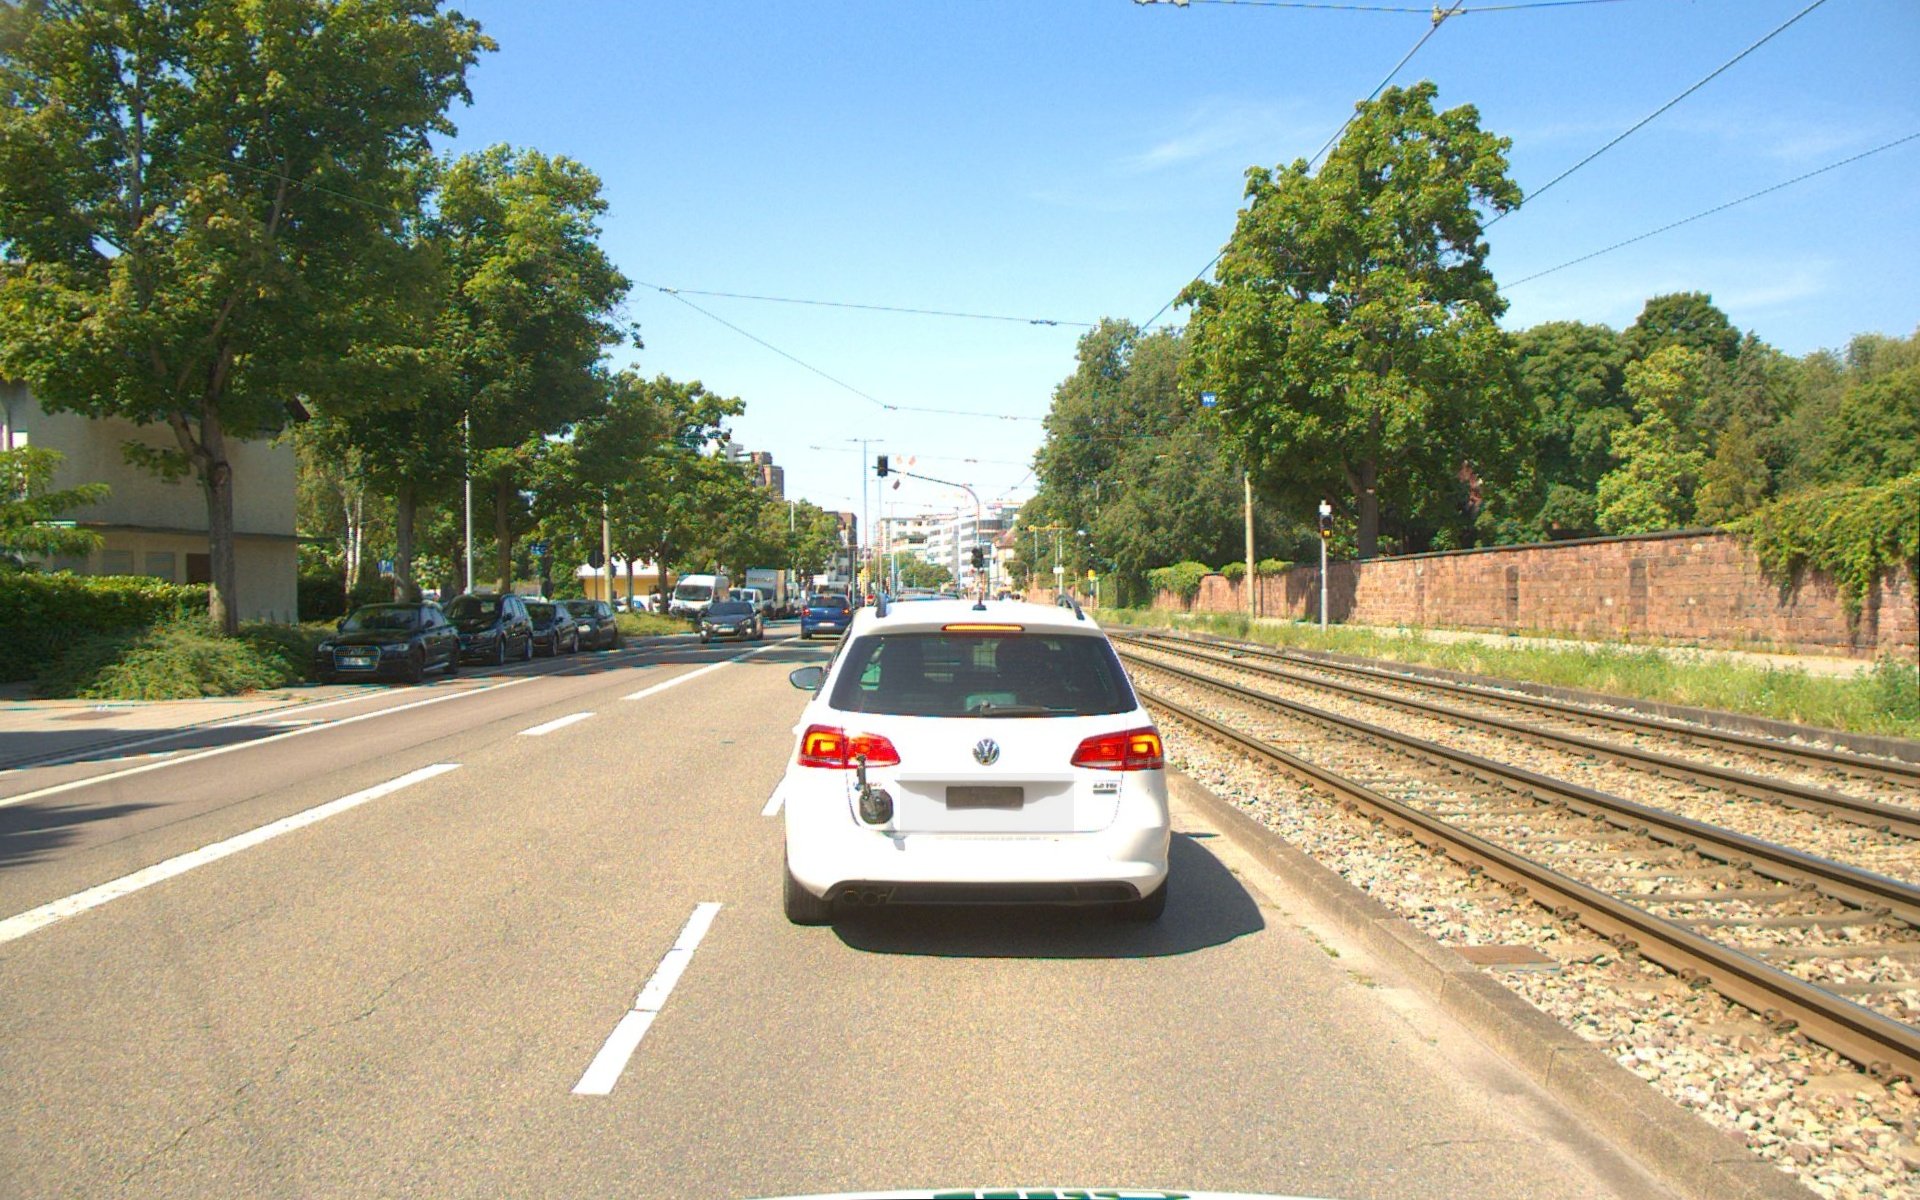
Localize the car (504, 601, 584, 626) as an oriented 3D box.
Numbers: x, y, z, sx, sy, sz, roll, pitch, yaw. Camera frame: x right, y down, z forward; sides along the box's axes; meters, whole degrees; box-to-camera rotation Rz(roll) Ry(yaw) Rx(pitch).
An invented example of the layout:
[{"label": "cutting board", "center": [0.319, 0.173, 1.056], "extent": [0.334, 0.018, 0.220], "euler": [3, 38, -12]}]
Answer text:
[{"label": "car", "center": [-22.958, 0.756, 91.398], "extent": [3.904, 1.286, 1.772], "euler": [-1, 0, 1]}]

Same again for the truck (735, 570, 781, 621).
[{"label": "truck", "center": [-13.182, -0.317, 108.325], "extent": [2.309, 3.177, 6.888], "euler": [-1, 0, -2]}]

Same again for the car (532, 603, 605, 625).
[{"label": "car", "center": [-23.353, 0.826, 98.780], "extent": [3.904, 1.246, 1.772], "euler": [-1, 0, 1]}]

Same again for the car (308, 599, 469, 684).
[{"label": "car", "center": [-11.119, 0.749, 32.532], "extent": [1.804, 1.491, 4.905], "euler": [-1, 0, -5]}]

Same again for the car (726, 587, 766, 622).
[{"label": "car", "center": [-12.796, 0.249, 99.148], "extent": [1.806, 1.995, 5.133], "euler": [-1, 0, -1]}]

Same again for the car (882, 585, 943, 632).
[{"label": "car", "center": [-1.604, 0.288, 57.153], "extent": [1.822, 1.539, 3.914], "euler": [1, 0, 2]}]

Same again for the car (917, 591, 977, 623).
[{"label": "car", "center": [-0.580, 0.320, 77.144], "extent": [1.709, 1.432, 3.915], "euler": [1, 0, 17]}]

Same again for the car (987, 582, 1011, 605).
[{"label": "car", "center": [4.459, -0.690, 191.194], "extent": [2.413, 2.542, 5.908], "euler": [1, -1, -2]}]

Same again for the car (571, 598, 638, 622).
[{"label": "car", "center": [-23.319, 0.625, 108.586], "extent": [3.904, 1.469, 1.772], "euler": [-1, 0, 1]}]

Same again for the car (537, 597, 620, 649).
[{"label": "car", "center": [-11.515, 0.667, 50.141], "extent": [1.608, 1.476, 4.003], "euler": [1, 0, -1]}]

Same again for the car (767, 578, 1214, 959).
[{"label": "car", "center": [0.050, 0.654, 8.440], "extent": [1.732, 1.471, 3.911], "euler": [1, 0, -2]}]

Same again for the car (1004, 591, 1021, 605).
[{"label": "car", "center": [5.318, -0.165, 168.578], "extent": [1.549, 1.370, 3.453], "euler": [1, -1, -2]}]

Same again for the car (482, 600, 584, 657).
[{"label": "car", "center": [-11.566, 0.732, 45.098], "extent": [1.656, 1.403, 4.781], "euler": [-1, 0, -2]}]

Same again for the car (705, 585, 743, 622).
[{"label": "car", "center": [-13.298, 0.166, 93.405], "extent": [1.808, 1.971, 5.188], "euler": [-1, 0, -5]}]

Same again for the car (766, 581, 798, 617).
[{"label": "car", "center": [-13.249, -0.087, 123.278], "extent": [1.806, 2.538, 5.855], "euler": [-1, 0, -1]}]

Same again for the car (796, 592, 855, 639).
[{"label": "car", "center": [-4.365, 0.487, 54.148], "extent": [1.710, 1.432, 3.912], "euler": [1, 0, -2]}]

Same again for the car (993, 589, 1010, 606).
[{"label": "car", "center": [4.618, -0.245, 182.752], "extent": [1.657, 1.844, 3.453], "euler": [1, -1, -2]}]

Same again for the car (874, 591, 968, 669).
[{"label": "car", "center": [-0.768, 0.538, 32.453], "extent": [1.710, 1.412, 3.912], "euler": [1, 0, -2]}]

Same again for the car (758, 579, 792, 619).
[{"label": "car", "center": [-12.858, -0.088, 115.362], "extent": [1.806, 2.715, 5.002], "euler": [-1, 0, -1]}]

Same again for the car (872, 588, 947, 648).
[{"label": "car", "center": [-1.316, 0.435, 42.982], "extent": [1.823, 1.441, 4.323], "euler": [1, 0, -2]}]

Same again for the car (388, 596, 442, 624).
[{"label": "car", "center": [-39.055, 0.715, 118.514], "extent": [3.355, 1.909, 1.551], "euler": [-1, 0, -3]}]

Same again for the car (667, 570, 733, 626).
[{"label": "car", "center": [-12.511, -0.101, 79.876], "extent": [2.016, 2.544, 6.308], "euler": [2, 0, 1]}]

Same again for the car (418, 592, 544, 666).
[{"label": "car", "center": [-11.362, 0.639, 39.554], "extent": [1.726, 1.634, 4.892], "euler": [0, 0, -2]}]

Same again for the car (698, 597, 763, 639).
[{"label": "car", "center": [-7.373, 0.555, 53.443], "extent": [1.653, 1.266, 4.063], "euler": [-1, 0, -2]}]
